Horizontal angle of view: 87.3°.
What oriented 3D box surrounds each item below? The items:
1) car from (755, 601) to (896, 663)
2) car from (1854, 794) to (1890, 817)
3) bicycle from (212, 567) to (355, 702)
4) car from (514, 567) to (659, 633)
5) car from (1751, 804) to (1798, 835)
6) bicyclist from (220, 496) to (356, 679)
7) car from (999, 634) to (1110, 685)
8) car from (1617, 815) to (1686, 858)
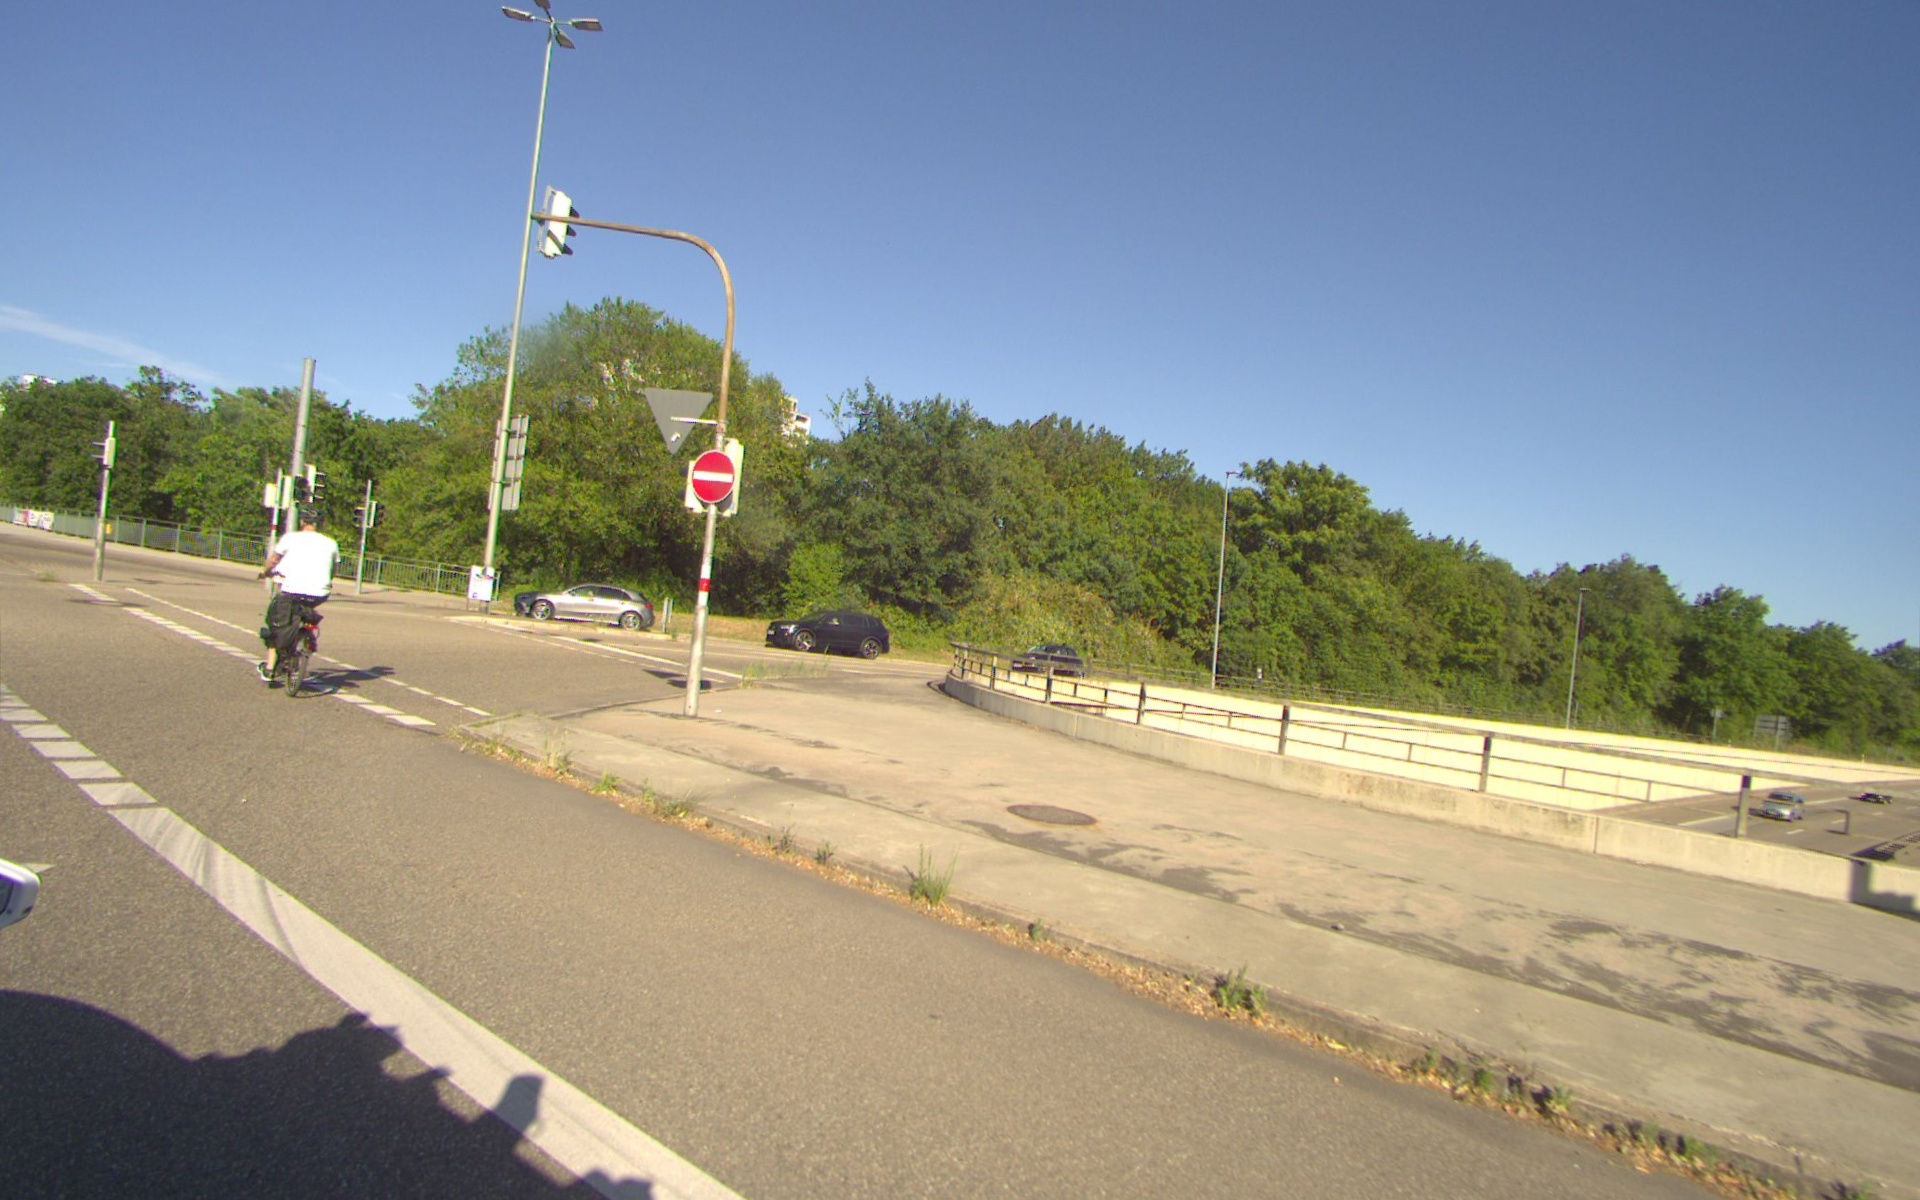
[{"bbox_3d":[-4.874,1.179,36.649,4.635,1.635,1.844,8,-1,-34],"label":"car"},{"bbox_3d":[79.706,17.922,87.904,3.976,1.581,1.840,10,-2,-42],"label":"car"},{"bbox_3d":[-6.768,0.319,10.028,1.802,1.114,0.690,6,-2,43],"label":"bicycle"},{"bbox_3d":[-12.178,-0.005,32.852,4.189,1.570,1.852,8,-1,-23],"label":"car"},{"bbox_3d":[56.577,15.205,69.840,3.978,1.591,1.976,10,-3,-43],"label":"car"},{"bbox_3d":[-6.723,-0.136,10.051,1.098,1.678,0.723,6,-2,43],"label":"bicyclist"},{"bbox_3d":[4.098,2.590,43.320,4.642,1.635,1.842,8,-1,-38],"label":"car"},{"bbox_3d":[34.682,11.815,50.423,3.977,1.503,1.976,9,-3,-43],"label":"car"}]
